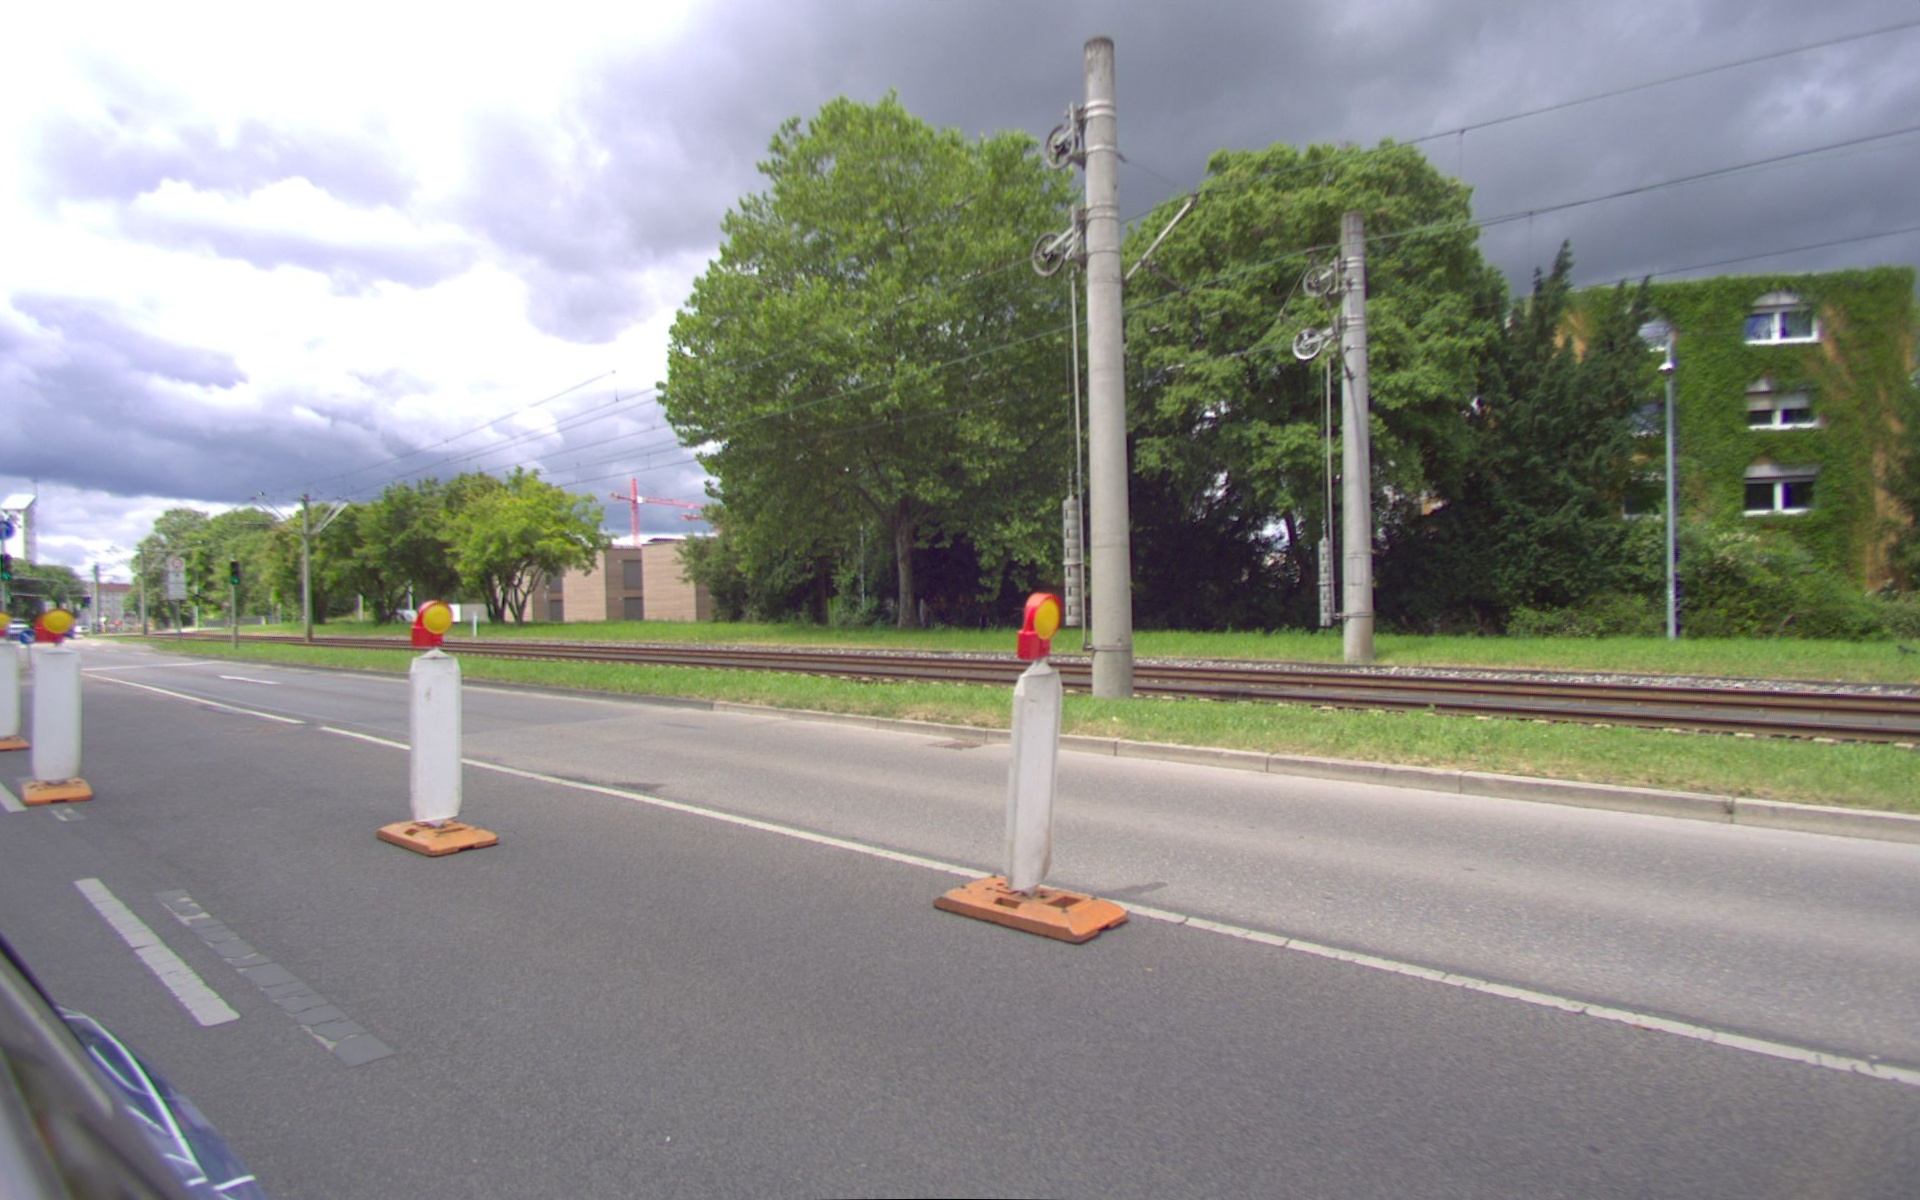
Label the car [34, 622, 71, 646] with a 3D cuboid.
[{"bbox_3d":[-71.275,2.636,79.495,1.970,1.672,4.525,-2,1,-44],"label":"car"}]

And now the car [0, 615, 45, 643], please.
[{"bbox_3d":[-61.124,1.918,65.965,4.608,1.622,1.839,-5,-4,44],"label":"car"}]
